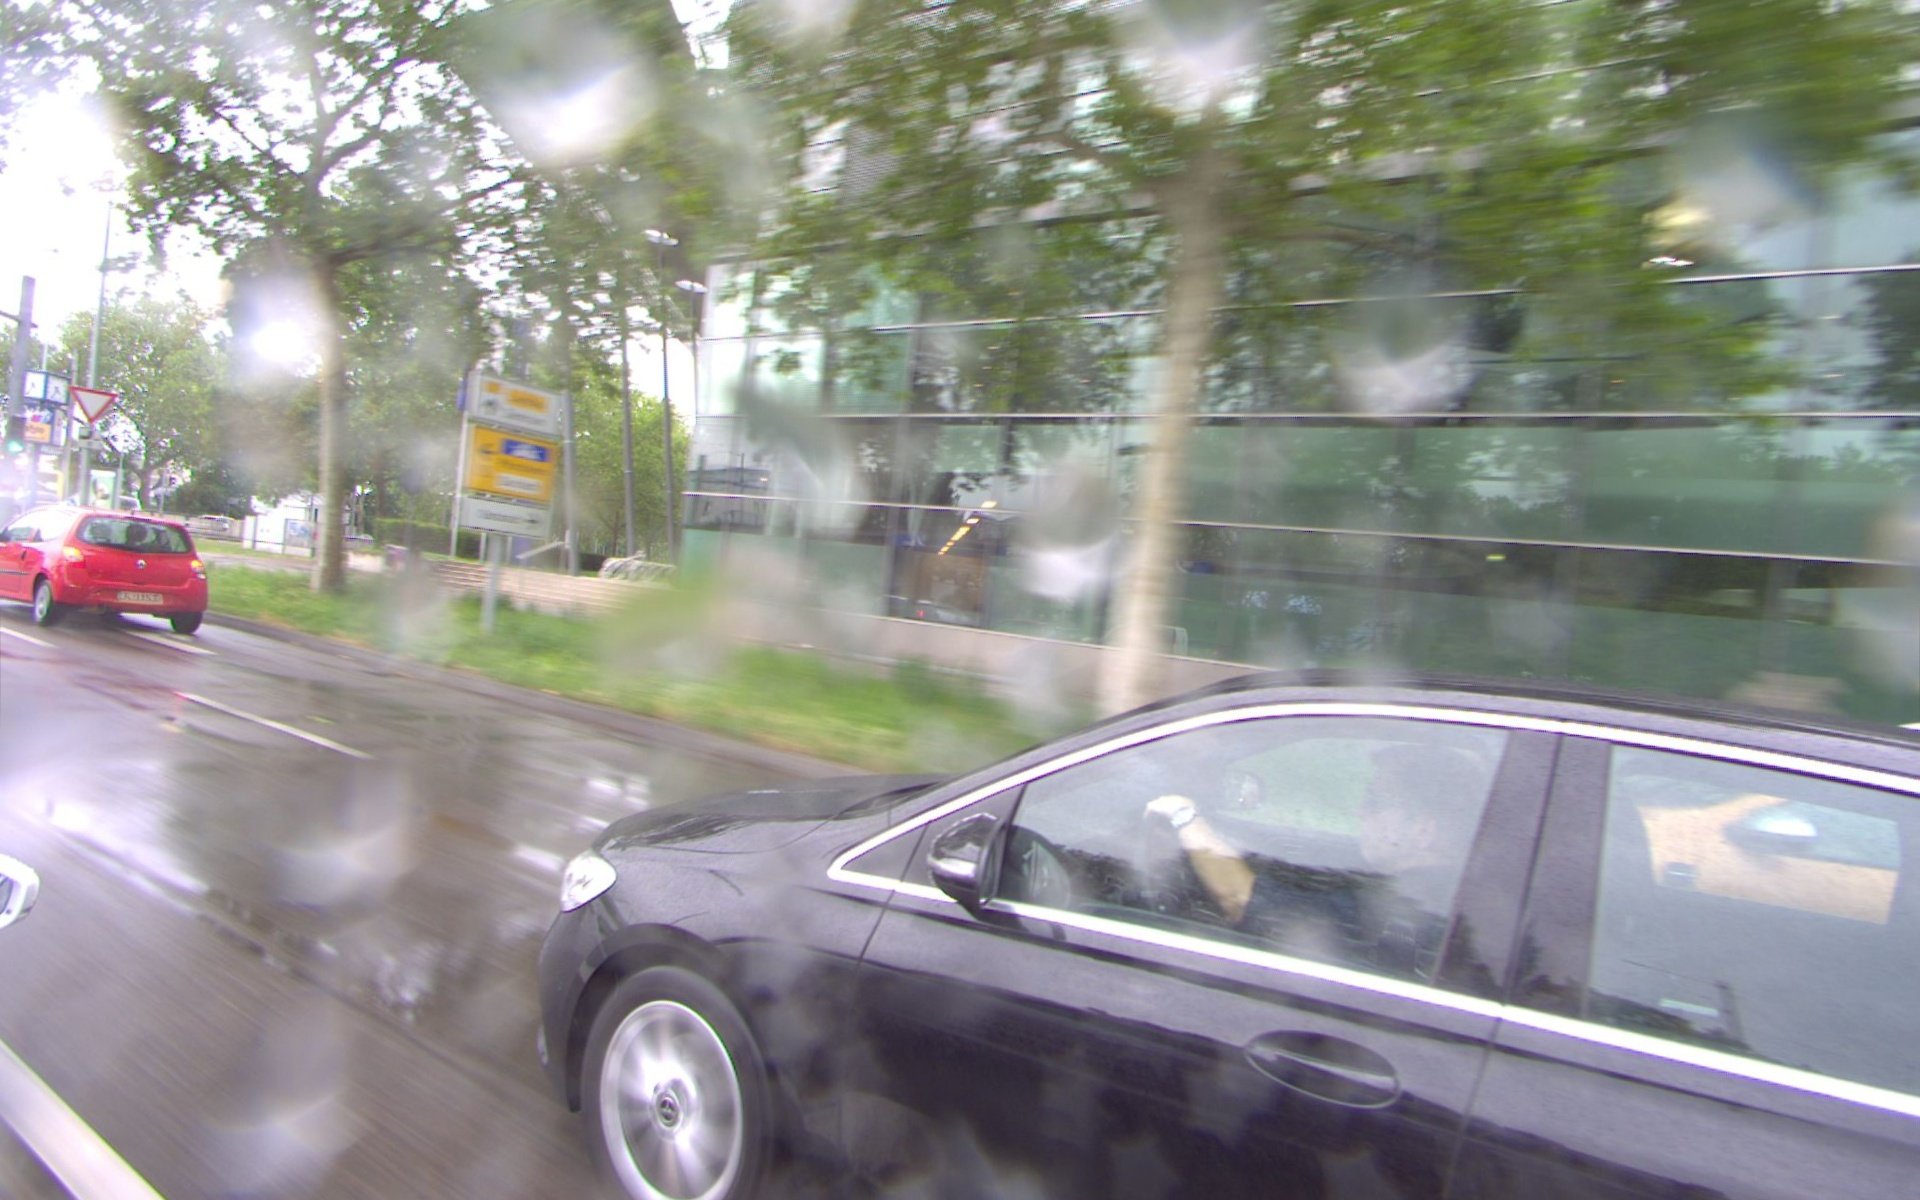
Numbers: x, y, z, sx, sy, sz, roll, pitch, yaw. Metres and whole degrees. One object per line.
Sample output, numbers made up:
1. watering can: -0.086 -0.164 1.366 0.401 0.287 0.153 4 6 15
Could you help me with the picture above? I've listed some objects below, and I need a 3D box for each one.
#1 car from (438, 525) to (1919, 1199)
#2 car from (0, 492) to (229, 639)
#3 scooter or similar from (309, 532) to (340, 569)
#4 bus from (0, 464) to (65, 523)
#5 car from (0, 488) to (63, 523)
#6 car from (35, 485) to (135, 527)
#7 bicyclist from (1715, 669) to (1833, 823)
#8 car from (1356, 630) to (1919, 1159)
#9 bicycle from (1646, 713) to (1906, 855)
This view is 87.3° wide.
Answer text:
1. car: 0.866 0.831 2.356 4.020 1.542 1.872 7 0 33
2. car: -11.466 -0.499 13.215 3.561 1.509 1.681 7 -1 32
3. scooter or similar: -21.082 -1.638 33.378 0.335 1.153 1.173 6 1 -8
4. bus: -62.478 -7.154 60.602 3.220 3.309 12.264 7 0 31
5. car: -56.046 -5.676 59.645 1.899 1.671 4.338 7 0 -5
6. car: -53.456 -5.700 61.603 2.041 1.872 4.742 7 0 -5
7. bicyclist: 9.032 1.590 11.205 0.739 1.536 0.805 6 3 29
8. car: 4.134 1.236 4.289 4.102 1.653 1.900 8 2 33
9. bicycle: 8.983 1.991 11.214 2.041 1.119 0.743 7 2 29
